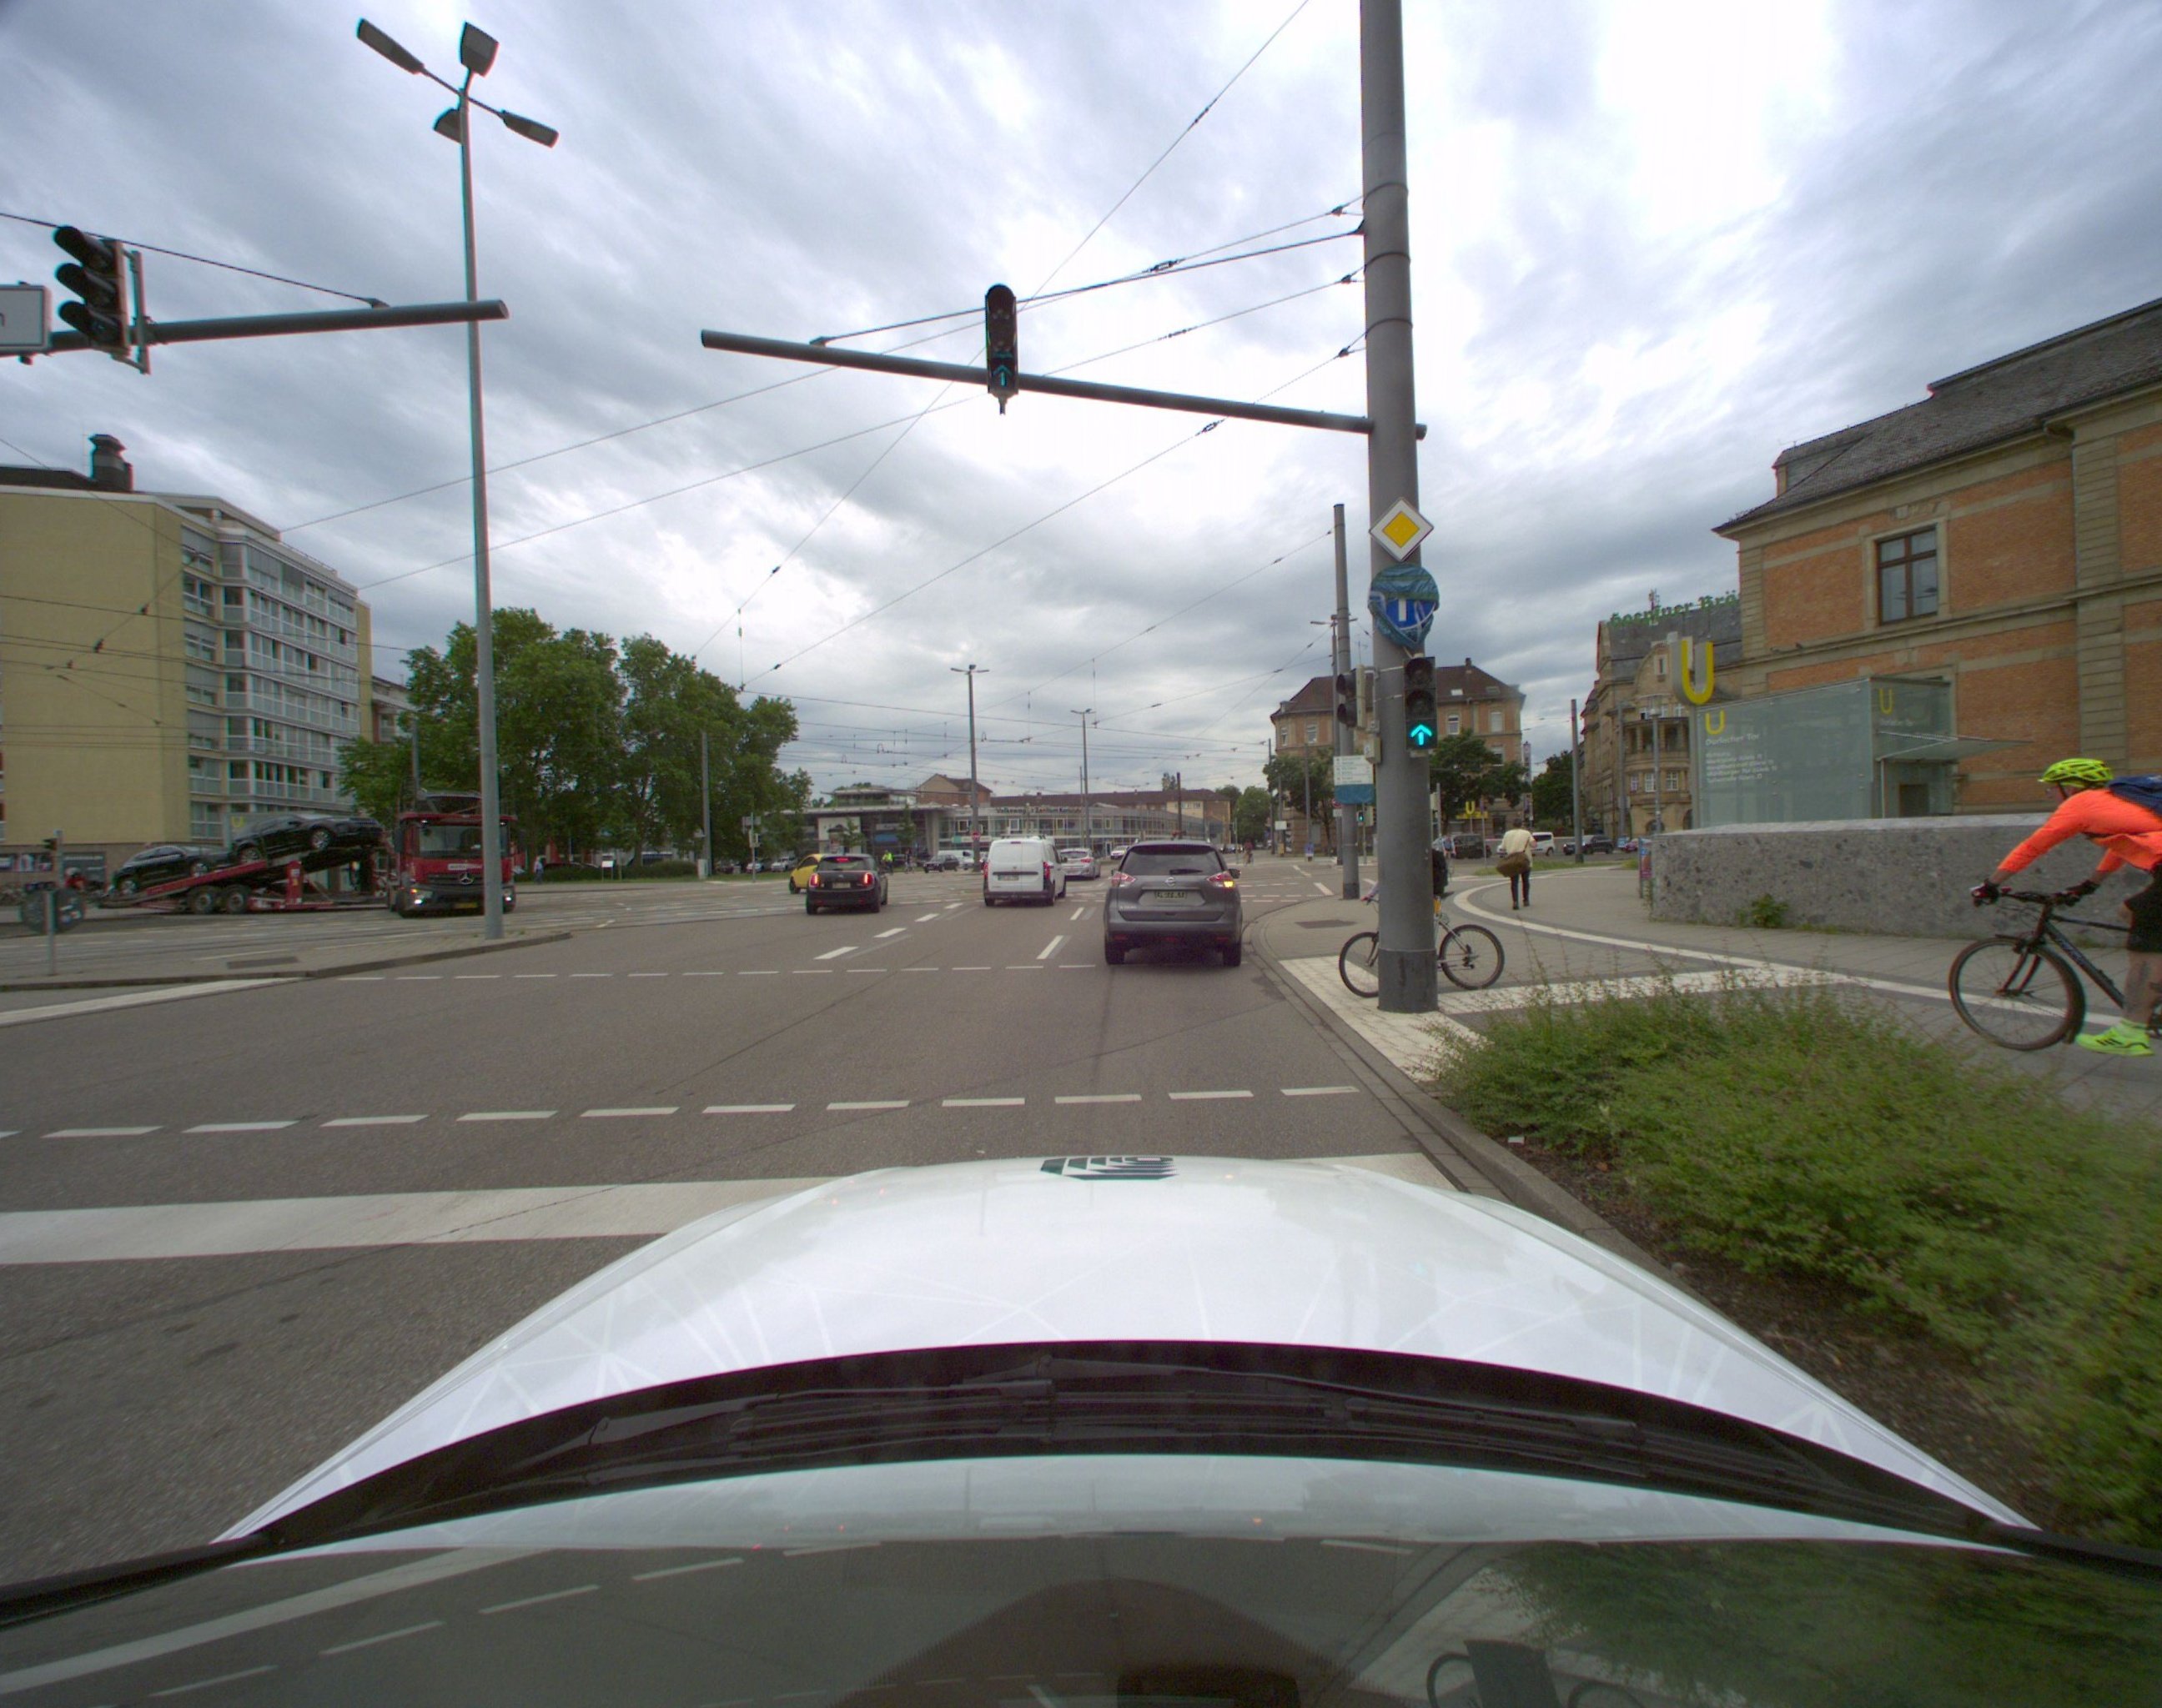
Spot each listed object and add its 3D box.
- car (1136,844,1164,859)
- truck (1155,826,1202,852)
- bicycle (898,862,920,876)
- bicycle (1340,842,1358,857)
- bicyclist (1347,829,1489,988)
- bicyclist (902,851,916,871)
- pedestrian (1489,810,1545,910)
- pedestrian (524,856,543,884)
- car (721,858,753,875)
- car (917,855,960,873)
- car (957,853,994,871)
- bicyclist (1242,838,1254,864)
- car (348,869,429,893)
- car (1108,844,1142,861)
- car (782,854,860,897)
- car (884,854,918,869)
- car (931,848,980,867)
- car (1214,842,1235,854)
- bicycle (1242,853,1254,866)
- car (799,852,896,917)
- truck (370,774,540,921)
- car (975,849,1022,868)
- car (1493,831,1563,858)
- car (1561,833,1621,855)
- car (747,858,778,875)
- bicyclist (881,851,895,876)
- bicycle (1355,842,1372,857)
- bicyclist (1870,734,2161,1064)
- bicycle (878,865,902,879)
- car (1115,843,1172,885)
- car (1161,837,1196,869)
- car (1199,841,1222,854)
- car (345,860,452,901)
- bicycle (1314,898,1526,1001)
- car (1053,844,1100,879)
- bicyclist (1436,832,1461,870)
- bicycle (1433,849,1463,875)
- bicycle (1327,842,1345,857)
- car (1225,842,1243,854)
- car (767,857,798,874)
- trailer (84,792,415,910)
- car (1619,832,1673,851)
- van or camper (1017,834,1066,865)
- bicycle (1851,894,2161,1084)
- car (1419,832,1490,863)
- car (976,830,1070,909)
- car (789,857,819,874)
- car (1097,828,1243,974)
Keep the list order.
[{"bbox_3d":[9.142,-0.347,107.651,1.974,1.839,4.551,-1,0,29],"label":"car"},{"bbox_3d":[13.968,-2.069,115.918,2.767,3.549,9.282,-1,0,32],"label":"truck"},{"bbox_3d":[-13.237,1.138,62.707,0.514,0.926,2.235,-2,1,21],"label":"bicycle"},{"bbox_3d":[25.452,-0.430,77.351,0.948,1.354,3.140,-1,0,30],"label":"bicycle"},{"bbox_3d":[3.416,0.528,8.341,1.095,1.520,0.759,-2,0,-2],"label":"bicyclist"},{"bbox_3d":[-13.233,0.513,62.678,0.561,1.508,0.861,-2,1,21],"label":"bicyclist"},{"bbox_3d":[8.541,0.105,15.941,0.876,1.867,1.294,-2,0,29],"label":"pedestrian"},{"bbox_3d":[-34.061,0.997,50.688,0.918,1.719,0.701,0,0,-28],"label":"pedestrian"},{"bbox_3d":[-42.602,1.538,100.878,1.984,2.013,4.006,-1,0,6],"label":"car"},{"bbox_3d":[-10.916,0.765,62.723,1.673,1.247,3.754,-2,0,17],"label":"car"},{"bbox_3d":[-8.761,0.651,67.794,1.622,1.420,3.754,-2,0,17],"label":"car"},{"bbox_3d":[11.210,-0.226,54.692,0.684,1.708,0.800,-2,0,5],"label":"bicyclist"},{"bbox_3d":[-50.990,1.962,60.041,4.000,1.552,1.987,-2,0,-19],"label":"car"},{"bbox_3d":[5.491,-0.207,101.119,2.137,1.856,5.480,-2,0,26],"label":"car"},{"bbox_3d":[-9.914,0.762,30.844,1.830,1.494,3.958,0,0,-33],"label":"car"},{"bbox_3d":[-18.379,0.790,83.370,1.621,1.420,3.756,-2,0,20],"label":"car"},{"bbox_3d":[-13.505,0.376,87.609,4.728,2.013,2.131,-1,0,17],"label":"car"},{"bbox_3d":[23.216,-0.997,131.780,1.974,1.839,4.551,-1,0,29],"label":"car"},{"bbox_3d":[11.232,0.363,54.712,0.616,0.793,1.594,-2,0,6],"label":"bicycle"},{"bbox_3d":[-5.895,0.703,20.996,1.768,1.468,3.989,-2,0,-8],"label":"car"},{"bbox_3d":[-20.524,-0.158,26.353,10.326,3.920,3.033,-1,0,45],"label":"truck"},{"bbox_3d":[-6.483,0.338,64.708,1.978,1.420,4.683,-2,0,17],"label":"car"},{"bbox_3d":[33.366,-0.711,60.789,5.106,1.916,1.855,-2,0,-23],"label":"car"},{"bbox_3d":[39.723,-0.807,63.425,4.307,1.534,1.854,-2,-2,-23],"label":"car"},{"bbox_3d":[-39.479,1.488,101.009,1.984,2.013,4.006,-1,0,6],"label":"car"},{"bbox_3d":[-14.173,0.725,59.816,0.622,1.803,0.802,-2,0,21],"label":"bicyclist"},{"bbox_3d":[26.645,-0.441,76.837,0.948,1.354,3.140,-1,0,30],"label":"bicycle"},{"bbox_3d":[5.607,0.208,4.679,0.825,1.621,1.321,-2,0,-2],"label":"bicyclist"},{"bbox_3d":[-14.086,1.308,60.133,0.514,0.930,2.235,-2,1,21],"label":"bicycle"},{"bbox_3d":[2.408,0.347,30.730,1.984,1.420,4.007,-2,0,6],"label":"car"},{"bbox_3d":[6.580,-0.069,54.595,1.980,2.013,4.013,-1,0,12],"label":"car"},{"bbox_3d":[19.930,-1.003,125.294,1.974,1.839,4.551,-1,0,29],"label":"car"},{"bbox_3d":[-36.472,1.385,43.655,4.006,2.013,1.984,-1,0,-25],"label":"car"},{"bbox_3d":[3.423,0.949,8.323,1.816,0.840,0.767,-4,0,-3],"label":"bicycle"},{"bbox_3d":[-0.151,0.324,36.890,1.845,1.508,4.003,-1,0,3],"label":"car"},{"bbox_3d":[15.436,-0.127,34.237,0.684,1.560,0.932,-4,0,36],"label":"bicyclist"},{"bbox_3d":[15.443,0.333,34.241,0.664,0.933,1.871,-5,0,37],"label":"bicycle"},{"bbox_3d":[24.401,-0.420,77.823,0.948,1.354,3.140,-1,0,30],"label":"bicycle"},{"bbox_3d":[25.971,-1.059,138.334,1.975,1.839,4.549,-2,0,24],"label":"car"},{"bbox_3d":[-36.969,1.456,100.909,1.984,2.013,4.006,-1,0,6],"label":"car"},{"bbox_3d":[-29.768,-0.078,29.358,9.475,3.973,3.001,-1,0,5],"label":"trailer"},{"bbox_3d":[46.132,-1.000,66.523,3.901,1.399,1.854,-2,-2,-25],"label":"car"},{"bbox_3d":[-3.510,-0.400,73.258,2.396,2.611,6.079,-1,0,17],"label":"van or camper"},{"bbox_3d":[5.628,0.709,4.589,0.555,0.848,2.072,-2,0,-2],"label":"bicycle"},{"bbox_3d":[24.265,-0.436,52.881,4.392,1.900,1.681,-1,0,-24],"label":"car"},{"bbox_3d":[-1.483,0.375,22.525,1.903,1.940,4.137,-2,0,5],"label":"car"},{"bbox_3d":[-34.168,1.429,100.462,1.984,2.013,4.006,-1,0,6],"label":"car"},{"bbox_3d":[1.314,0.583,12.024,1.740,1.756,3.931,-2,0,6],"label":"car"}]
